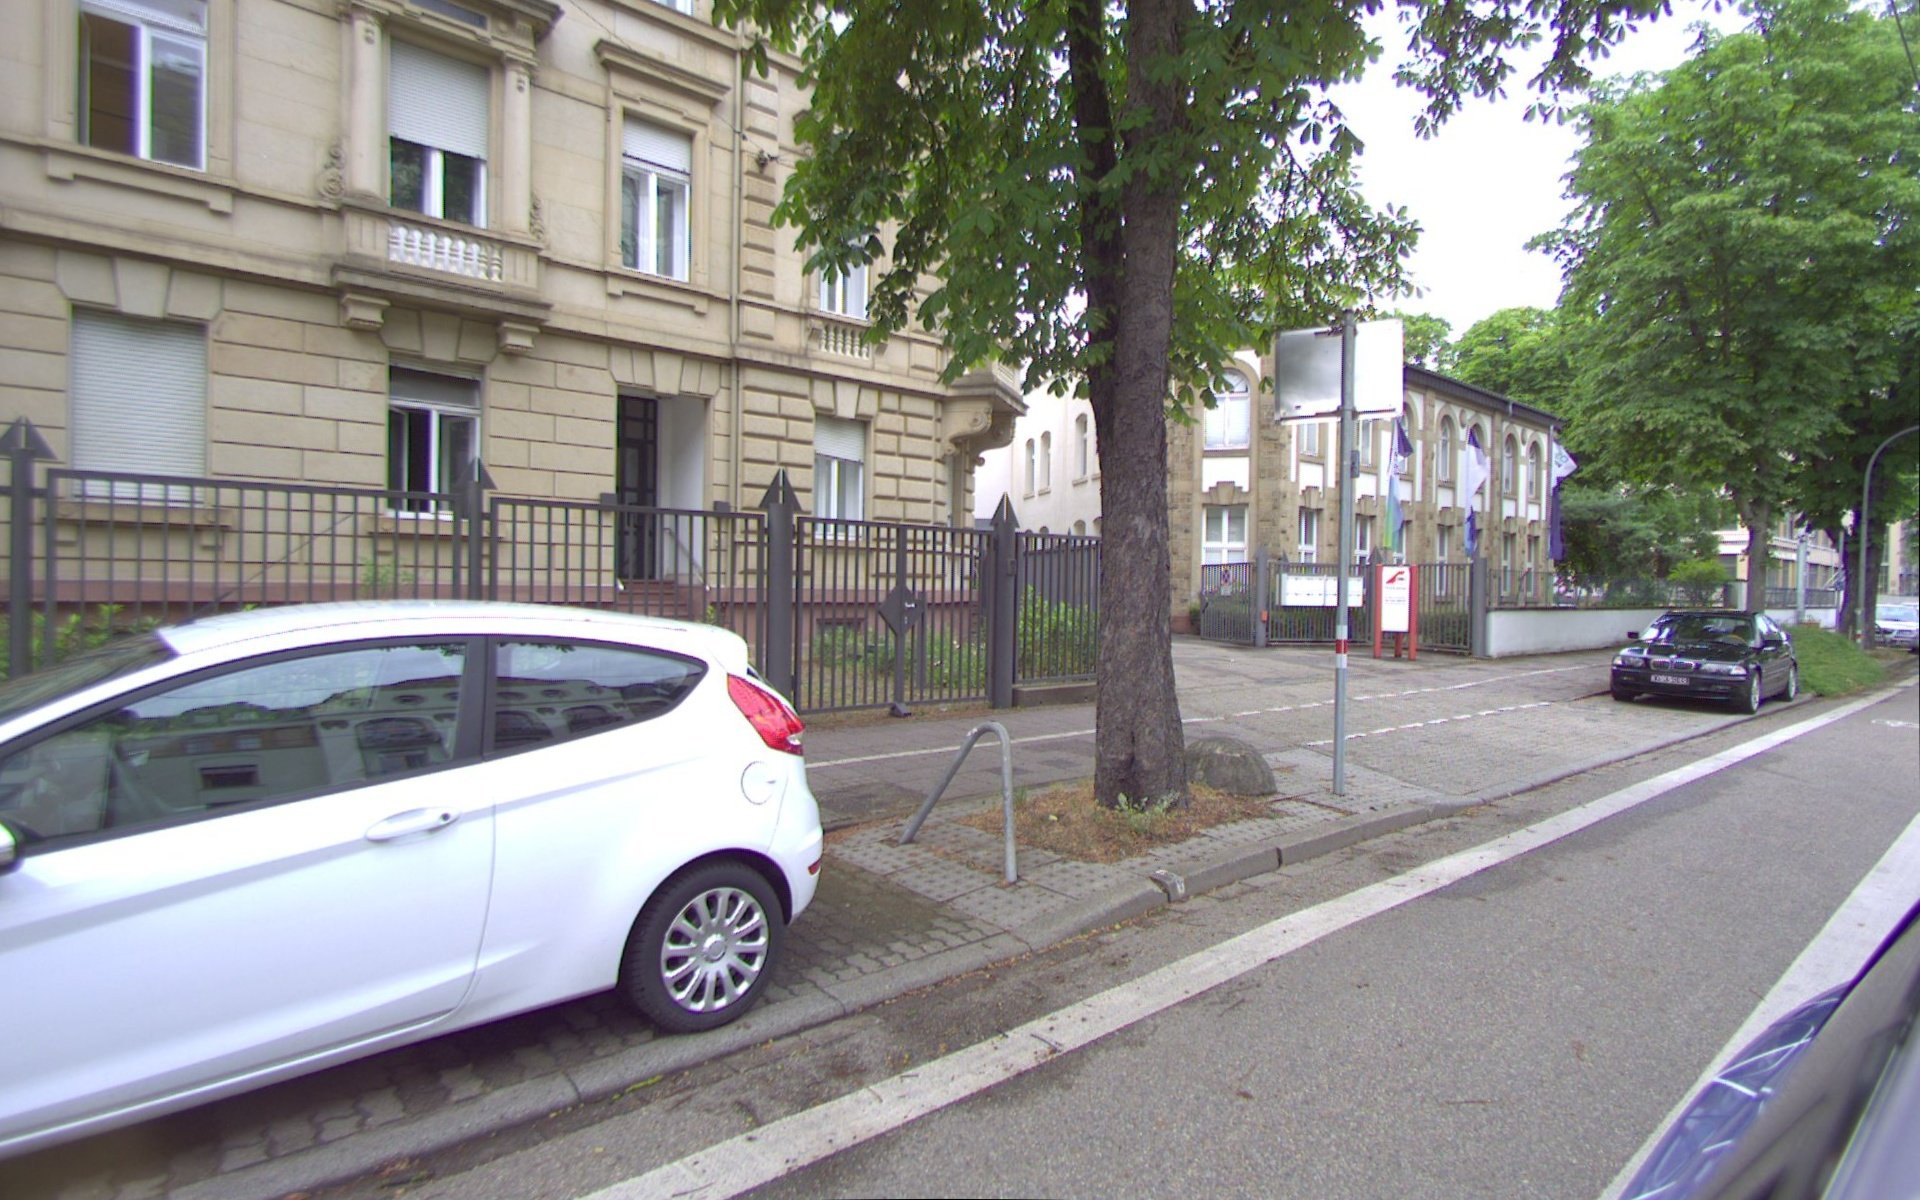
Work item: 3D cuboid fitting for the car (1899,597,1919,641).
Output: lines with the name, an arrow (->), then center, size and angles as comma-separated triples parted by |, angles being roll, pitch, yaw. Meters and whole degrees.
car -> 33.286, 0.648, 34.372 | 3.769, 1.442, 1.606 | 0, 3, -41

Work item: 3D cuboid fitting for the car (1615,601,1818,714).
car -> 11.349, 0.757, 15.104 | 3.769, 1.387, 1.606 | 0, 3, -41

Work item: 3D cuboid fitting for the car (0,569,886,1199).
car -> -2.224, 0.668, 3.276 | 3.698, 1.453, 1.631 | 0, 3, -41

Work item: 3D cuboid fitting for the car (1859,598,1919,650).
car -> 27.934, 0.678, 29.837 | 3.769, 1.387, 1.606 | 0, 3, -41
